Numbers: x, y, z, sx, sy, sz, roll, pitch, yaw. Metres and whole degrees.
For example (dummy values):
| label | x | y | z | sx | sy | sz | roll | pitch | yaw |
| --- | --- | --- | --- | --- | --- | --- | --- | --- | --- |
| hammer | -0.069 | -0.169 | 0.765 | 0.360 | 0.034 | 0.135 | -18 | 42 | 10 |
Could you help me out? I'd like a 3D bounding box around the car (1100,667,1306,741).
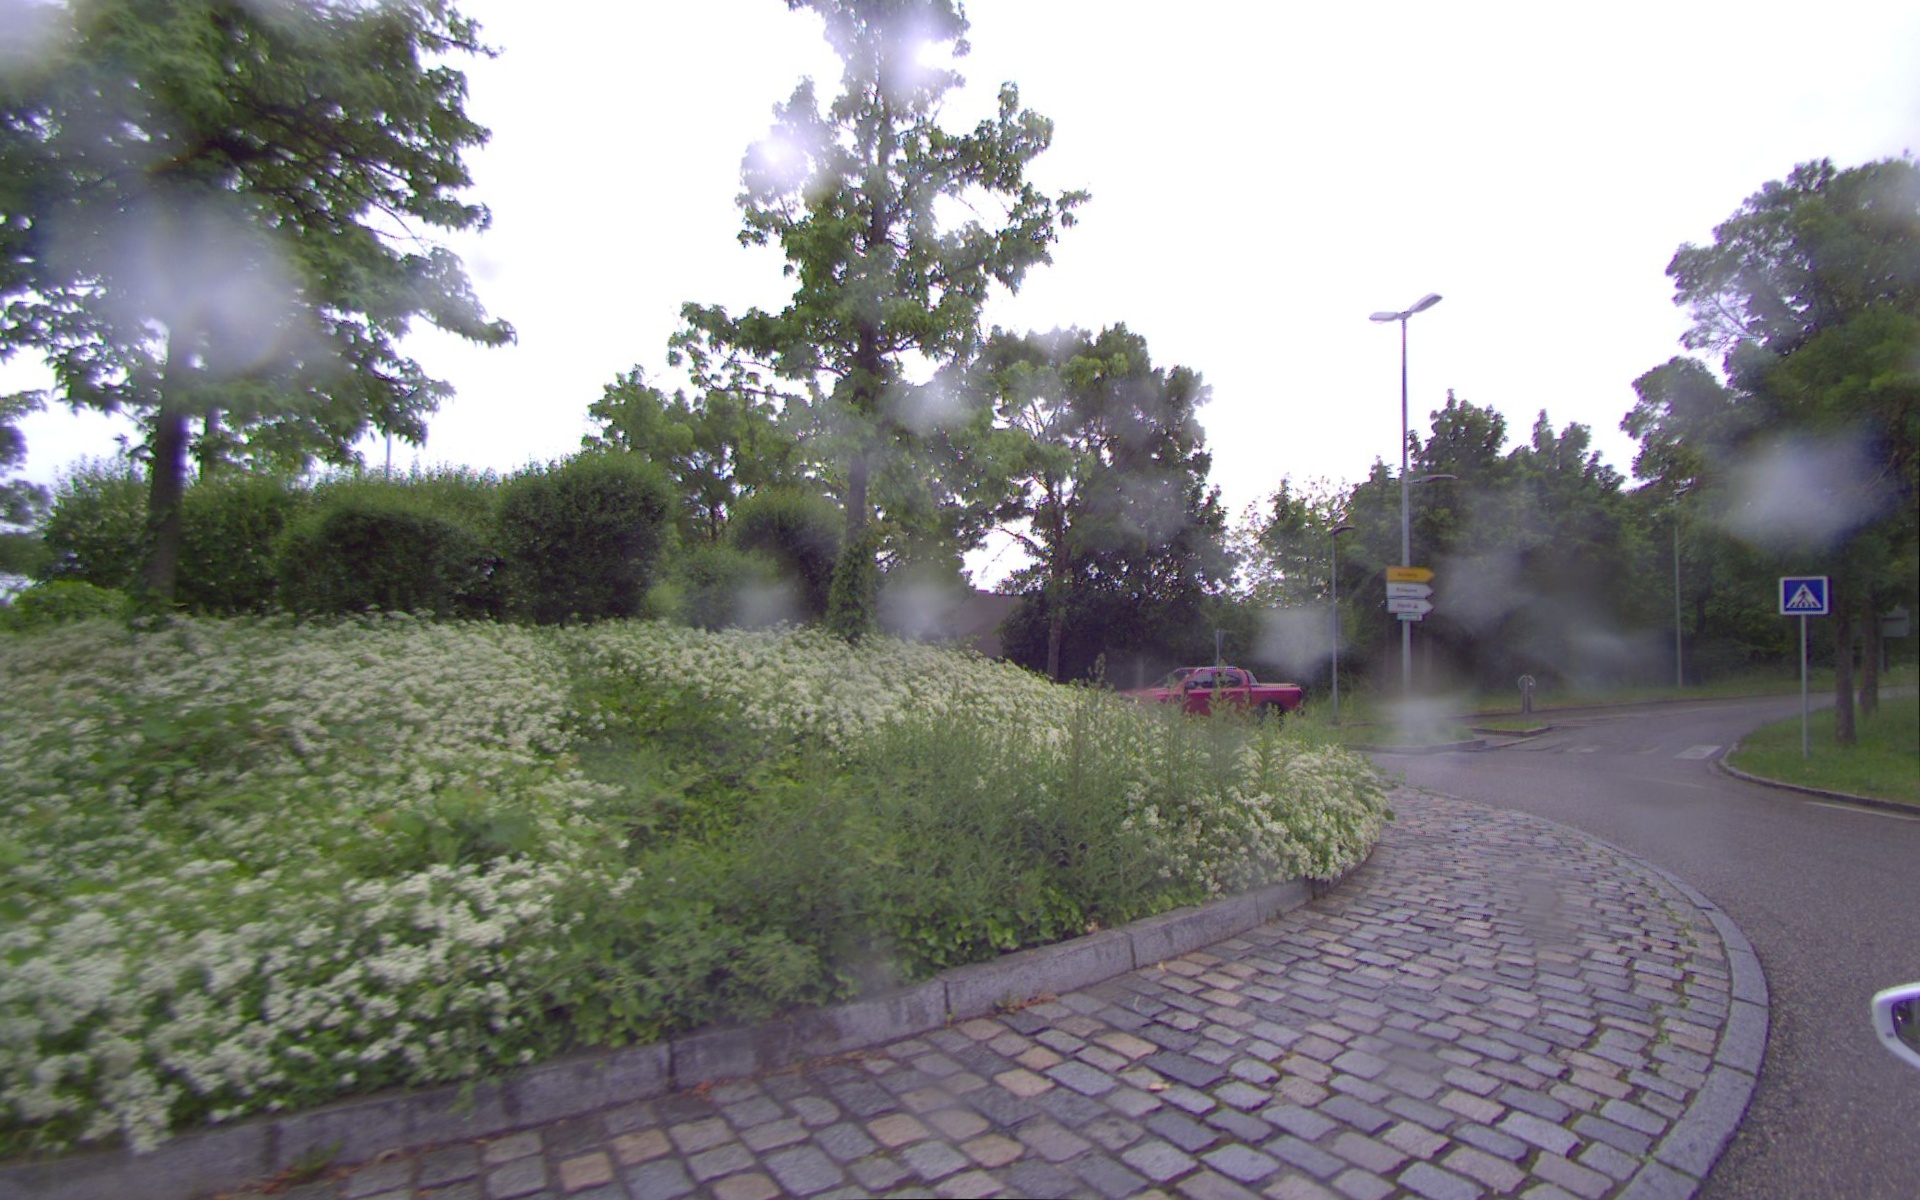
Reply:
| label | x | y | z | sx | sy | sz | roll | pitch | yaw |
| --- | --- | --- | --- | --- | --- | --- | --- | --- | --- |
| car | 6.444 | 2.700 | 26.726 | 5.028 | 1.818 | 1.994 | 1 | -4 | -17 |
